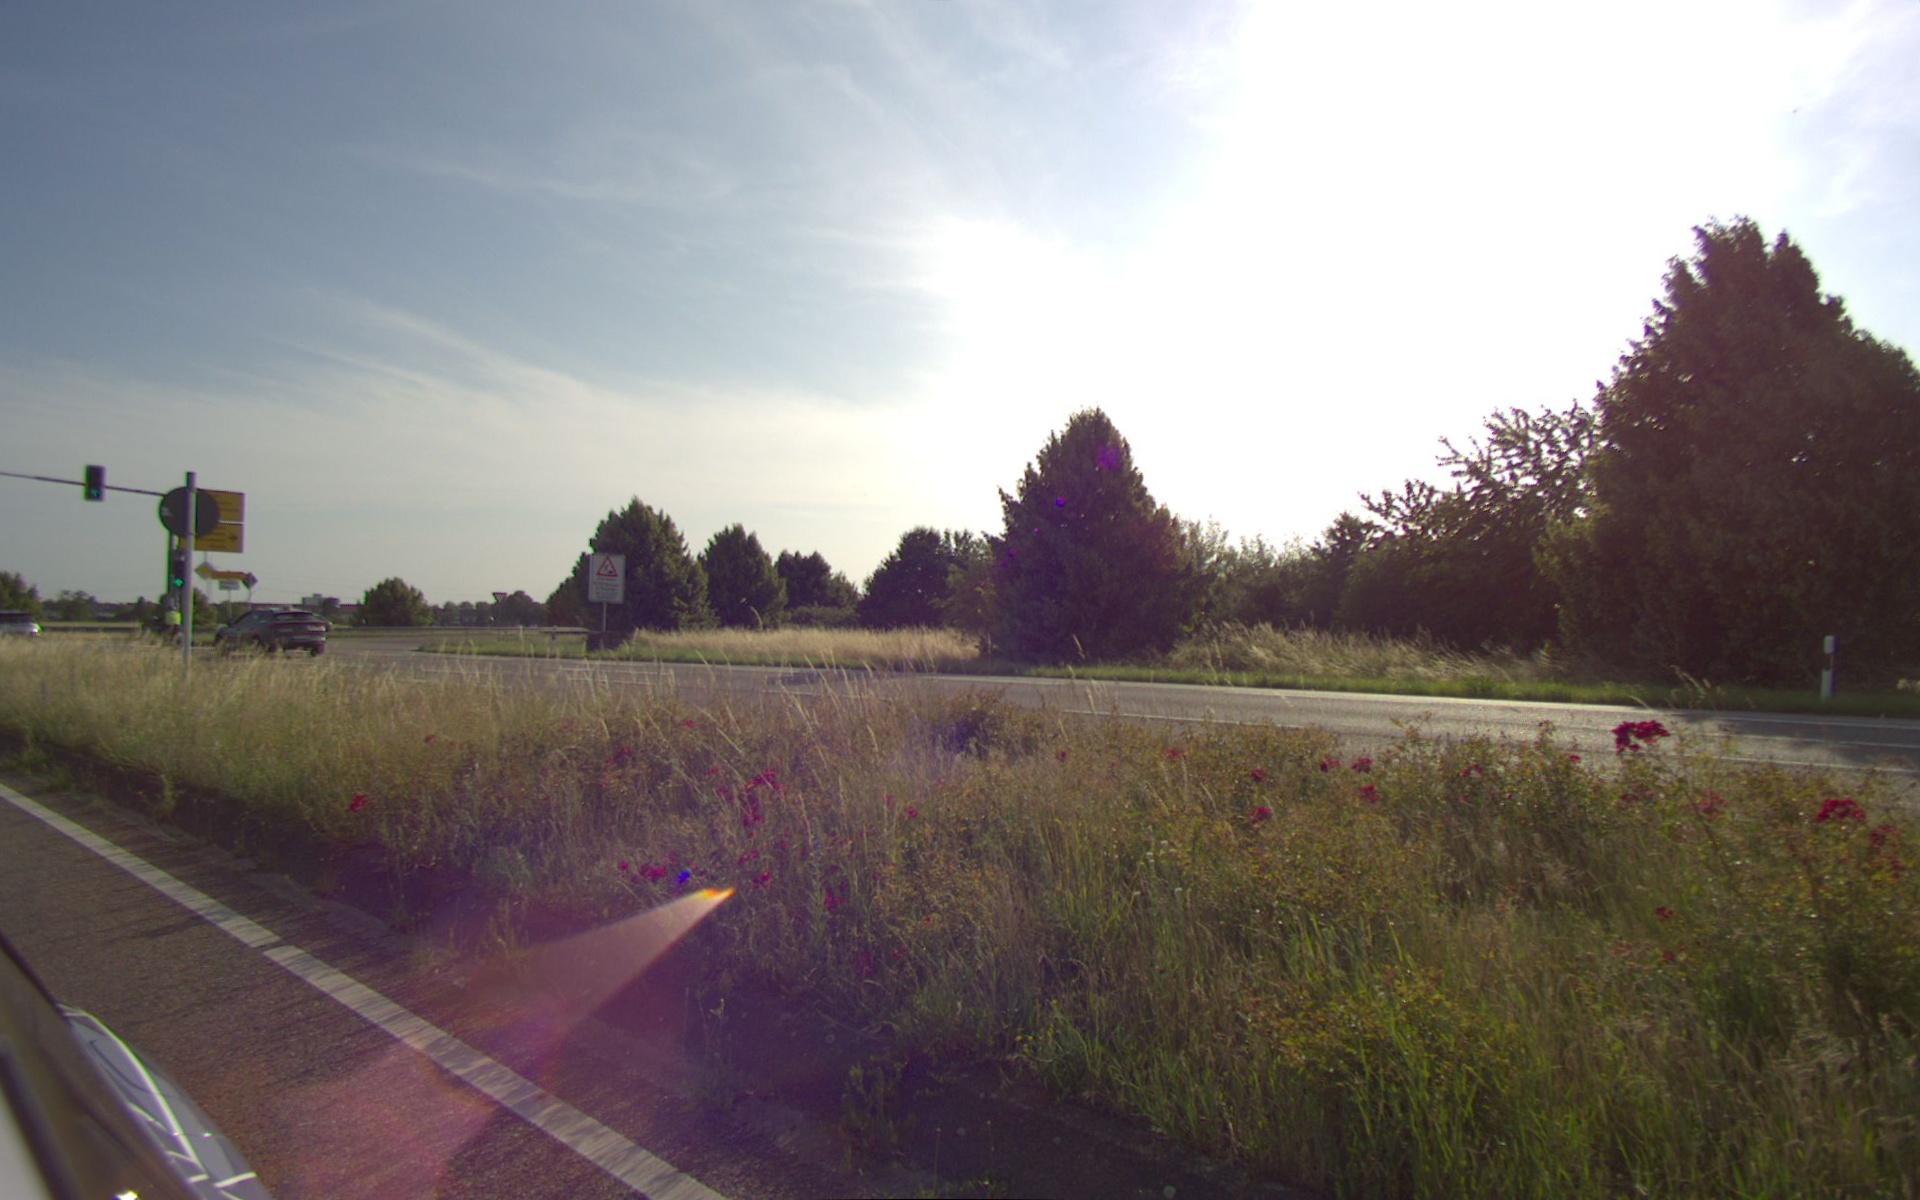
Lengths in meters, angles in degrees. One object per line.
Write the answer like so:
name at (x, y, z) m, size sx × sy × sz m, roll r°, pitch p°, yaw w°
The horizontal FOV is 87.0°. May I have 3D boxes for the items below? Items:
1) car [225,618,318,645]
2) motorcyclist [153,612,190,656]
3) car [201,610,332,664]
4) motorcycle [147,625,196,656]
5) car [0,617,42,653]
car at (-39.257, 1.774, 57.771) m, size 1.949 × 1.408 × 3.965 m, roll -1°, pitch -1°, yaw 26°
motorcyclist at (-29.253, 1.253, 37.542) m, size 1.246 × 1.616 × 0.746 m, roll -1°, pitch -1°, yaw 34°
car at (-21.761, 1.124, 31.708) m, size 4.599 × 1.577 × 1.896 m, roll -1°, pitch -1°, yaw 35°
motorcycle at (-29.288, 1.474, 37.564) m, size 2.302 × 1.101 × 0.746 m, roll -1°, pitch 0°, yaw 34°
car at (-43.037, 1.564, 45.450) m, size 4.122 × 1.536 × 1.692 m, roll -1°, pitch -1°, yaw 33°
